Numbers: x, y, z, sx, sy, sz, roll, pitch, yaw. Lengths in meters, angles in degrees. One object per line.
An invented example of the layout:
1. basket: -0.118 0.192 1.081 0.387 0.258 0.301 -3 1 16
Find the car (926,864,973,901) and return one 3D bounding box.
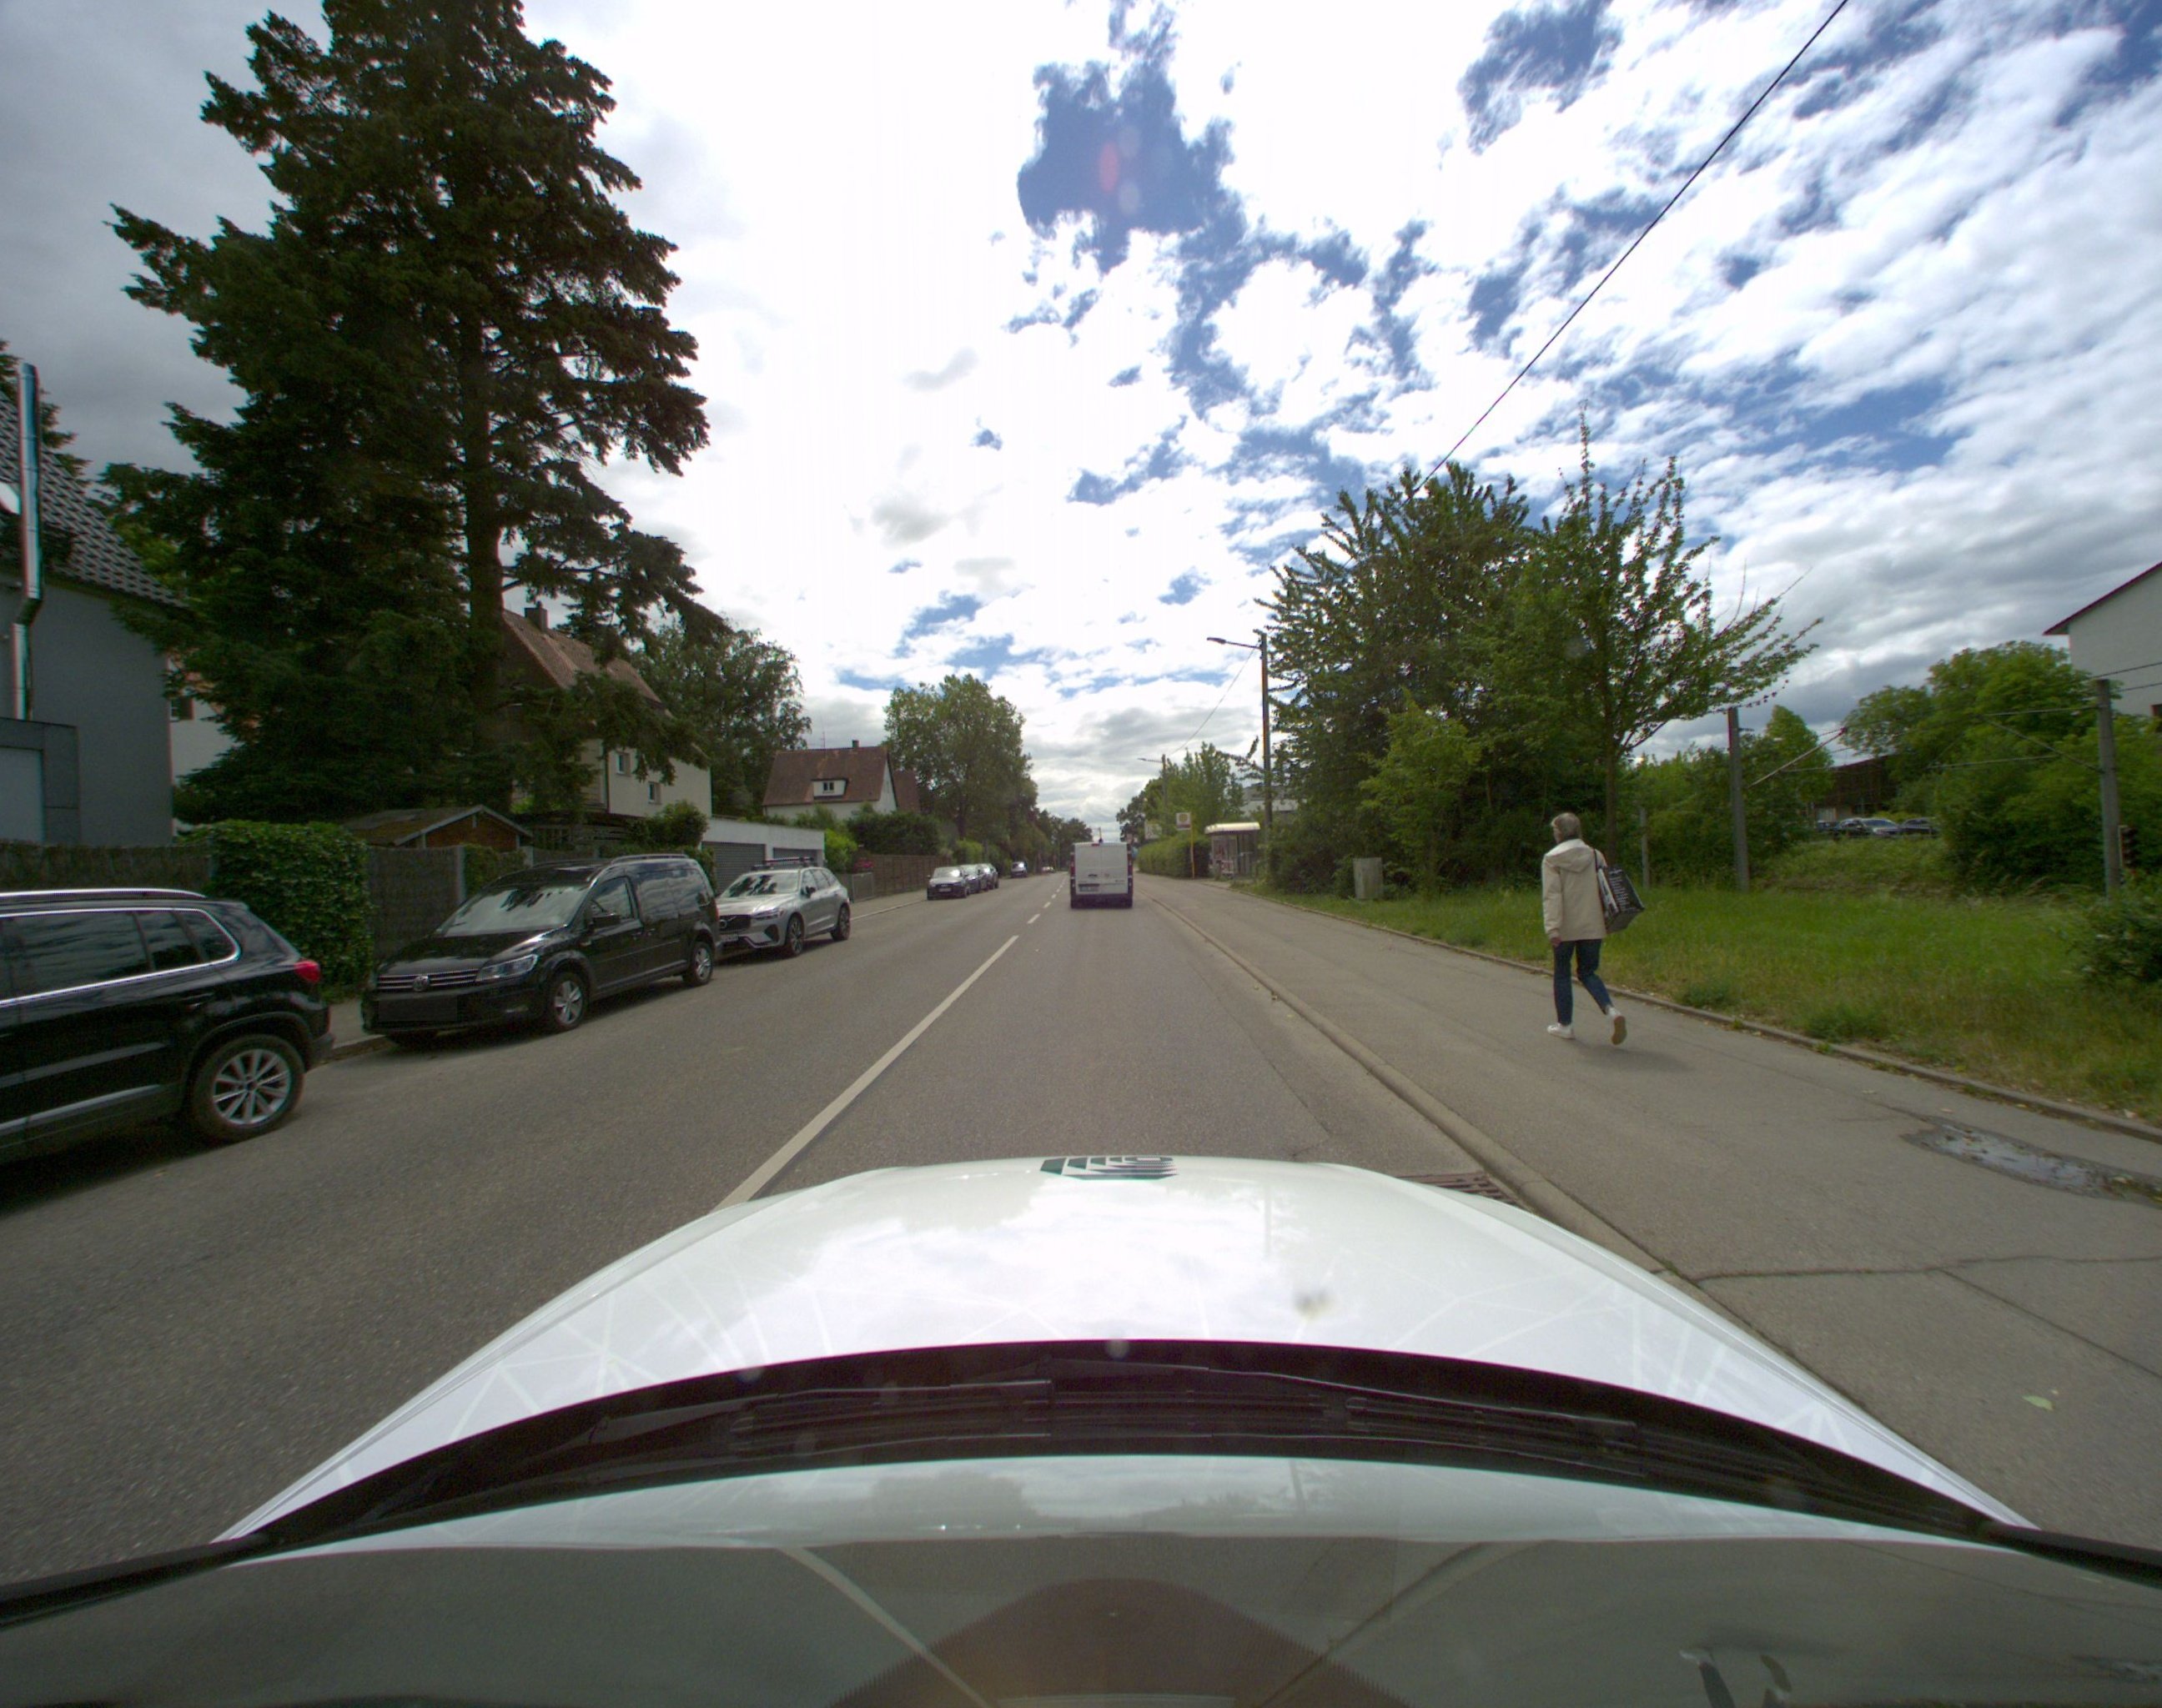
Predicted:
1. car: -5.921 1.266 37.083 1.648 1.427 3.900 -4 0 -4

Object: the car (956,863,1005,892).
1. car: -5.789 1.323 47.527 1.985 1.479 4.650 -4 -1 3

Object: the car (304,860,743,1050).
1. car: -6.304 0.973 10.169 2.060 1.754 4.883 -1 0 0

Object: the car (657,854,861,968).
1. car: -6.055 0.956 16.047 1.978 1.819 4.708 -2 0 1

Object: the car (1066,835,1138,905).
1. car: 0.640 0.461 25.687 2.027 1.945 4.994 -1 0 1

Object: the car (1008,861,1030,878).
1. car: -6.618 1.598 86.340 2.130 1.772 4.453 -1 0 -7

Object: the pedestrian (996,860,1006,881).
1. pedestrian: -8.188 1.682 83.415 0.870 2.013 1.039 -4 -1 -5

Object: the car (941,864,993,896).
1. car: -5.814 1.299 42.060 1.860 1.459 4.490 -3 -1 2

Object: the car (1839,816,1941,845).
1. car: 42.251 -1.190 42.681 1.977 1.332 4.499 -3 0 19

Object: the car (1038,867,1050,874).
1. car: -7.939 3.546 175.829 2.063 1.386 4.034 -3 0 -10

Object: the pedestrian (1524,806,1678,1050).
1. pedestrian: 3.752 0.511 5.932 0.682 1.659 0.691 -1 -1 6

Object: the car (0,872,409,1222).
1. car: -6.229 1.053 4.136 1.620 1.678 4.585 -5 0 1
